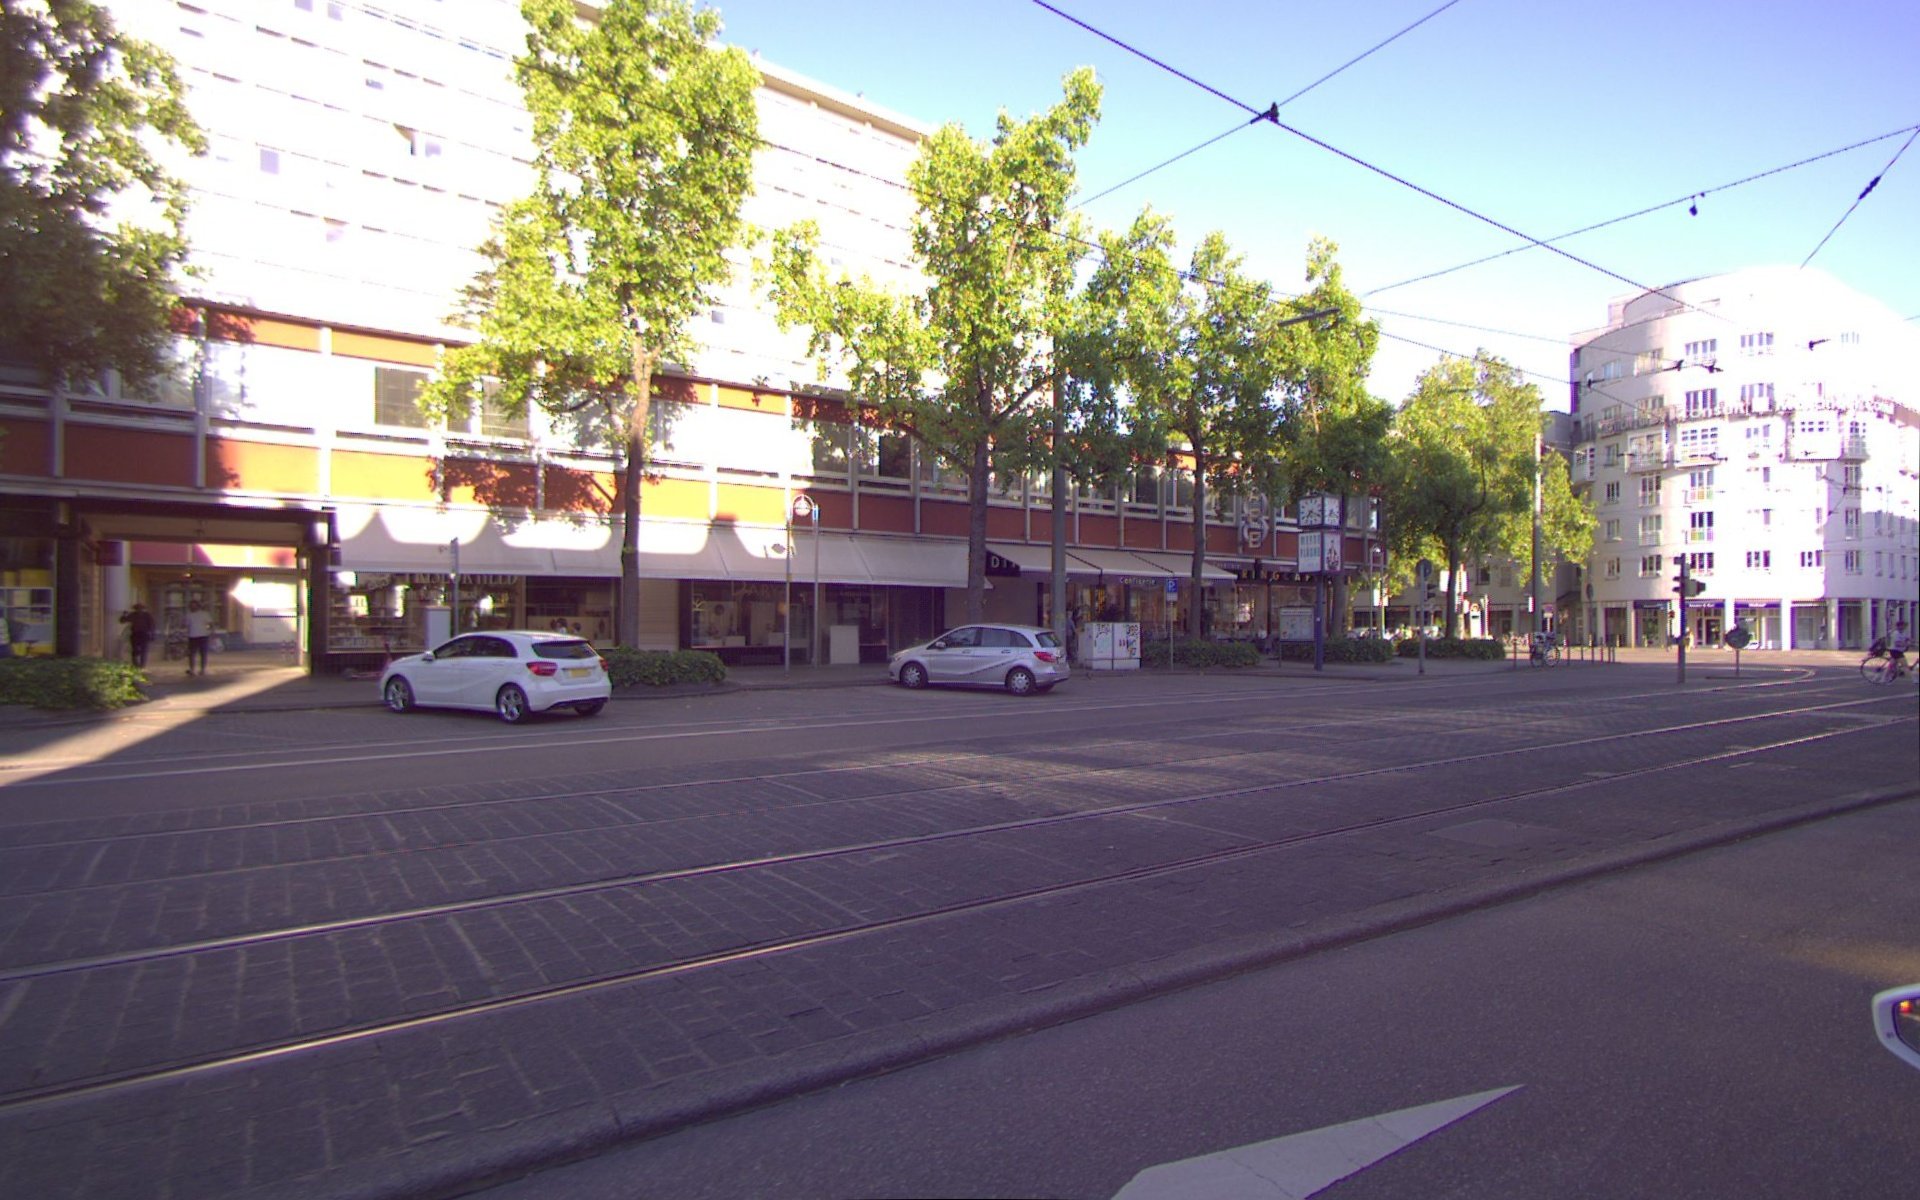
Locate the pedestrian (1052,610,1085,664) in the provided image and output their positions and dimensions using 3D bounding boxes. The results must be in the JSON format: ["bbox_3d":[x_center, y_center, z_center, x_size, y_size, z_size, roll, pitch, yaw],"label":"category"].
[{"bbox_3d":[3.616,1.219,33.510,0.867,1.745,0.699,0,1,-36],"label":"pedestrian"}]

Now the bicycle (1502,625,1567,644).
[{"bbox_3d":[46.872,2.806,82.081,1.054,1.550,4.680,1,-2,-31],"label":"bicycle"}]

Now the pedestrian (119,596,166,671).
[{"bbox_3d":[-21.438,0.874,26.338,0.912,1.902,0.889,1,-1,-42],"label":"pedestrian"}]

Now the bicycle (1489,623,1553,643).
[{"bbox_3d":[45.493,2.680,81.558,1.054,1.550,4.680,1,-2,-31],"label":"bicycle"}]

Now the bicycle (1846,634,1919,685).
[{"bbox_3d":[23.098,1.452,24.632,0.623,1.193,2.000,2,-2,-41],"label":"bicycle"}]

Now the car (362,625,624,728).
[{"bbox_3d":[-8.014,1.224,17.223,4.188,1.448,1.765,1,0,25],"label":"car"}]

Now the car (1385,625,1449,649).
[{"bbox_3d":[30.889,2.470,67.995,1.606,1.579,3.997,0,-2,-22],"label":"car"}]

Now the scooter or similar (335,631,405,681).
[{"bbox_3d":[-13.544,1.273,23.063,1.325,1.108,0.471,1,0,-38],"label":"scooter or similar"}]

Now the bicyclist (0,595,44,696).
[{"bbox_3d":[-17.680,0.831,18.684,0.483,1.846,0.826,0,-1,28],"label":"bicyclist"}]

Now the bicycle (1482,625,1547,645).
[{"bbox_3d":[44.586,2.796,80.905,1.054,1.550,4.680,1,-2,-31],"label":"bicycle"}]

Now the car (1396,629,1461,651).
[{"bbox_3d":[29.239,2.487,62.808,1.739,1.312,4.012,0,-2,-9],"label":"car"}]

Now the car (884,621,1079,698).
[{"bbox_3d":[0.502,1.341,23.570,4.198,1.587,1.826,1,-1,24],"label":"car"}]

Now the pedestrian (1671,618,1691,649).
[{"bbox_3d":[48.371,2.258,67.379,0.929,2.040,0.939,-1,-1,27],"label":"pedestrian"}]

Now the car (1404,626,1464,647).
[{"bbox_3d":[35.982,2.757,76.336,1.597,1.551,3.969,0,-1,-29],"label":"car"}]

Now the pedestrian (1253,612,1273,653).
[{"bbox_3d":[13.030,1.380,43.179,0.590,1.745,0.647,0,1,-16],"label":"pedestrian"}]

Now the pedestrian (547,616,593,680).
[{"bbox_3d":[-9.456,1.153,24.371,0.892,1.517,0.682,1,-1,-38],"label":"pedestrian"}]

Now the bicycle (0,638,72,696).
[{"bbox_3d":[-17.638,1.243,18.757,0.483,1.039,1.494,0,-1,28],"label":"bicycle"}]

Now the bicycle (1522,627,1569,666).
[{"bbox_3d":[21.157,1.676,36.292,1.885,1.345,0.667,1,1,-33],"label":"bicycle"}]

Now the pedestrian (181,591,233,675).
[{"bbox_3d":[-18.308,0.793,24.428,0.987,1.974,0.890,1,-1,-38],"label":"pedestrian"}]

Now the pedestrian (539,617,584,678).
[{"bbox_3d":[-9.891,1.168,24.922,0.892,1.490,0.682,1,-1,-38],"label":"pedestrian"}]

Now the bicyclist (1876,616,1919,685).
[{"bbox_3d":[22.765,1.206,24.383,0.760,1.648,0.723,2,-1,-41],"label":"bicyclist"}]
